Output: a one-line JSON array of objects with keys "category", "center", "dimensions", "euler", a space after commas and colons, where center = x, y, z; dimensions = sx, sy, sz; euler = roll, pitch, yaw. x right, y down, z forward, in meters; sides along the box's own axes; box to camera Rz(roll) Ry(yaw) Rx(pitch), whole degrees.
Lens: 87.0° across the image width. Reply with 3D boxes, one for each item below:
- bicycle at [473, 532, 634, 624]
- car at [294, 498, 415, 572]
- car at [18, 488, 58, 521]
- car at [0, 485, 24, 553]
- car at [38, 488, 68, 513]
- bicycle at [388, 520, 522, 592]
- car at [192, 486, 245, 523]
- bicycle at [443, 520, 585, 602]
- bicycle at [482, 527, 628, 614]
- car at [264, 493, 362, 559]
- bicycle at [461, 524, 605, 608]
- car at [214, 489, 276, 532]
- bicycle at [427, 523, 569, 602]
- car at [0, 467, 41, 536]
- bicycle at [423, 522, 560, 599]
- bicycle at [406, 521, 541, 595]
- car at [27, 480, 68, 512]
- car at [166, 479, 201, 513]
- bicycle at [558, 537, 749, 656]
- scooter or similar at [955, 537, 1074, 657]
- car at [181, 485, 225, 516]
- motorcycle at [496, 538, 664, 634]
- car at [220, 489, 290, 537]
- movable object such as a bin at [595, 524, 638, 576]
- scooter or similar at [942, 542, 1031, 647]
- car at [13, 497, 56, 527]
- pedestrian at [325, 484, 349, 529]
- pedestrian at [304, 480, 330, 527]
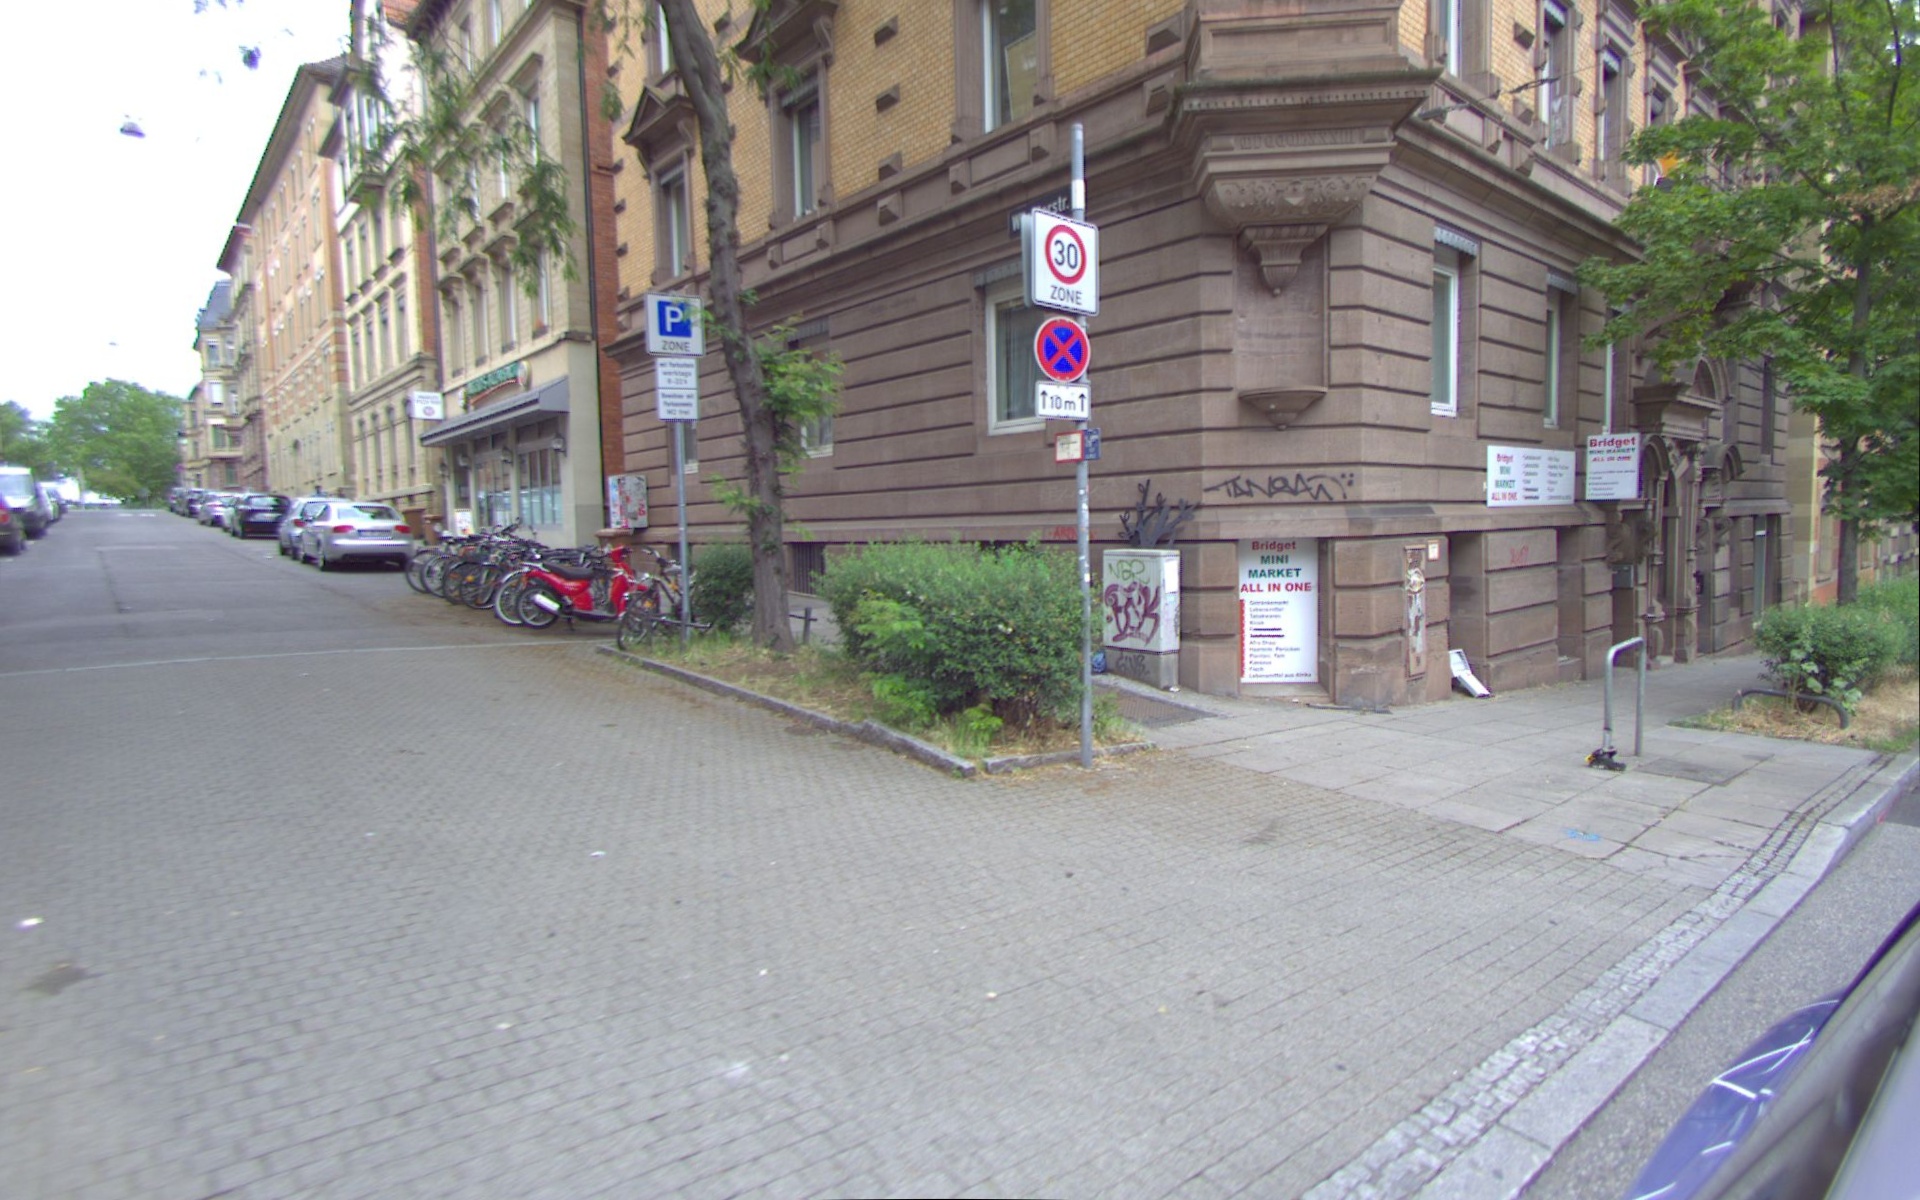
[{"category": "bicycle", "center": [-5.297, -0.325, 13.268], "dimensions": [1.887, 1.111, 0.509], "euler": [-3, 7, -38]}, {"category": "car", "center": [-13.257, -1.482, 22.042], "dimensions": [1.614, 1.422, 4.279], "euler": [-3, 7, -39]}, {"category": "car", "center": [-41.362, -4.283, 45.439], "dimensions": [1.182, 1.412, 2.782], "euler": [-2, 6, -40]}, {"category": "car", "center": [-24.548, -2.060, 25.180], "dimensions": [1.647, 1.596, 3.434], "euler": [-3, 7, -41]}, {"category": "car", "center": [-53.202, -5.862, 59.396], "dimensions": [1.182, 1.412, 2.782], "euler": [-2, 6, -40]}, {"category": "bicycle", "center": [-8.322, -0.759, 16.751], "dimensions": [0.588, 1.111, 1.895], "euler": [5, 7, 40]}, {"category": "car", "center": [-32.621, -4.201, 44.510], "dimensions": [1.614, 1.527, 3.870], "euler": [-3, 7, -39]}, {"category": "bicycle", "center": [-6.551, -0.613, 14.958], "dimensions": [0.506, 1.111, 1.895], "euler": [5, 7, 39]}, {"category": "bicycle", "center": [-5.665, -0.455, 14.252], "dimensions": [0.506, 1.111, 1.895], "euler": [5, 7, 39]}, {"category": "car", "center": [-16.524, -1.926, 25.762], "dimensions": [1.614, 1.527, 3.870], "euler": [-3, 7, -39]}, {"category": "bicycle", "center": [-6.136, -0.522, 14.630], "dimensions": [0.506, 1.111, 1.895], "euler": [5, 7, 39]}, {"category": "car", "center": [-27.258, -3.435, 38.522], "dimensions": [1.614, 1.527, 3.870], "euler": [-3, 7, -39]}, {"category": "bicycle", "center": [-6.972, -0.604, 15.362], "dimensions": [0.591, 1.111, 1.895], "euler": [5, 7, 39]}, {"category": "car", "center": [-30.315, -3.158, 32.046], "dimensions": [1.647, 2.111, 3.434], "euler": [-2, 7, -41]}, {"category": "bicycle", "center": [-7.320, -0.655, 15.898], "dimensions": [0.563, 1.111, 1.895], "euler": [5, 7, 39]}, {"category": "bicycle", "center": [-7.828, -0.713, 16.369], "dimensions": [0.563, 1.111, 1.895], "euler": [5, 7, 39]}, {"category": "car", "center": [-57.507, -6.574, 63.858], "dimensions": [1.737, 1.875, 4.739], "euler": [-3, 6, -40]}, {"category": "car", "center": [-51.512, -6.888, 67.090], "dimensions": [1.693, 2.037, 3.998], "euler": [0, 5, -40]}, {"category": "bicycle", "center": [-3.176, -0.084, 10.639], "dimensions": [1.889, 1.111, 0.508], "euler": [-4, 7, -42]}, {"category": "scooter or similar", "center": [0.583, -0.051, 11.022], "dimensions": [1.228, 1.197, 0.284], "euler": [5, 7, 20]}, {"category": "car", "center": [-39.653, -5.232, 52.973], "dimensions": [1.614, 1.527, 3.870], "euler": [-3, 7, -39]}, {"category": "motorcycle", "center": [-4.591, -0.188, 12.352], "dimensions": [1.881, 1.112, 0.510], "euler": [-1, 5, -16]}, {"category": "car", "center": [-24.057, -3.001, 34.503], "dimensions": [1.614, 1.527, 3.870], "euler": [-3, 7, -39]}, {"category": "movable object such as a bin", "center": [-6.401, -0.938, 18.849], "dimensions": [0.428, 0.896, 0.562], "euler": [3, 9, 38]}, {"category": "scooter or similar", "center": [0.299, -0.075, 11.521], "dimensions": [0.965, 1.090, 0.237], "euler": [5, 7, 24]}, {"category": "car", "center": [-38.239, -3.658, 41.860], "dimensions": [1.182, 1.160, 2.782], "euler": [-3, 6, -40]}, {"category": "pedestrian", "center": [-24.080, -3.596, 39.114], "dimensions": [0.711, 1.677, 0.684], "euler": [0, 0, -41]}, {"category": "pedestrian", "center": [-23.879, -3.580, 37.583], "dimensions": [0.711, 1.677, 0.684], "euler": [0, 0, -41]}]
